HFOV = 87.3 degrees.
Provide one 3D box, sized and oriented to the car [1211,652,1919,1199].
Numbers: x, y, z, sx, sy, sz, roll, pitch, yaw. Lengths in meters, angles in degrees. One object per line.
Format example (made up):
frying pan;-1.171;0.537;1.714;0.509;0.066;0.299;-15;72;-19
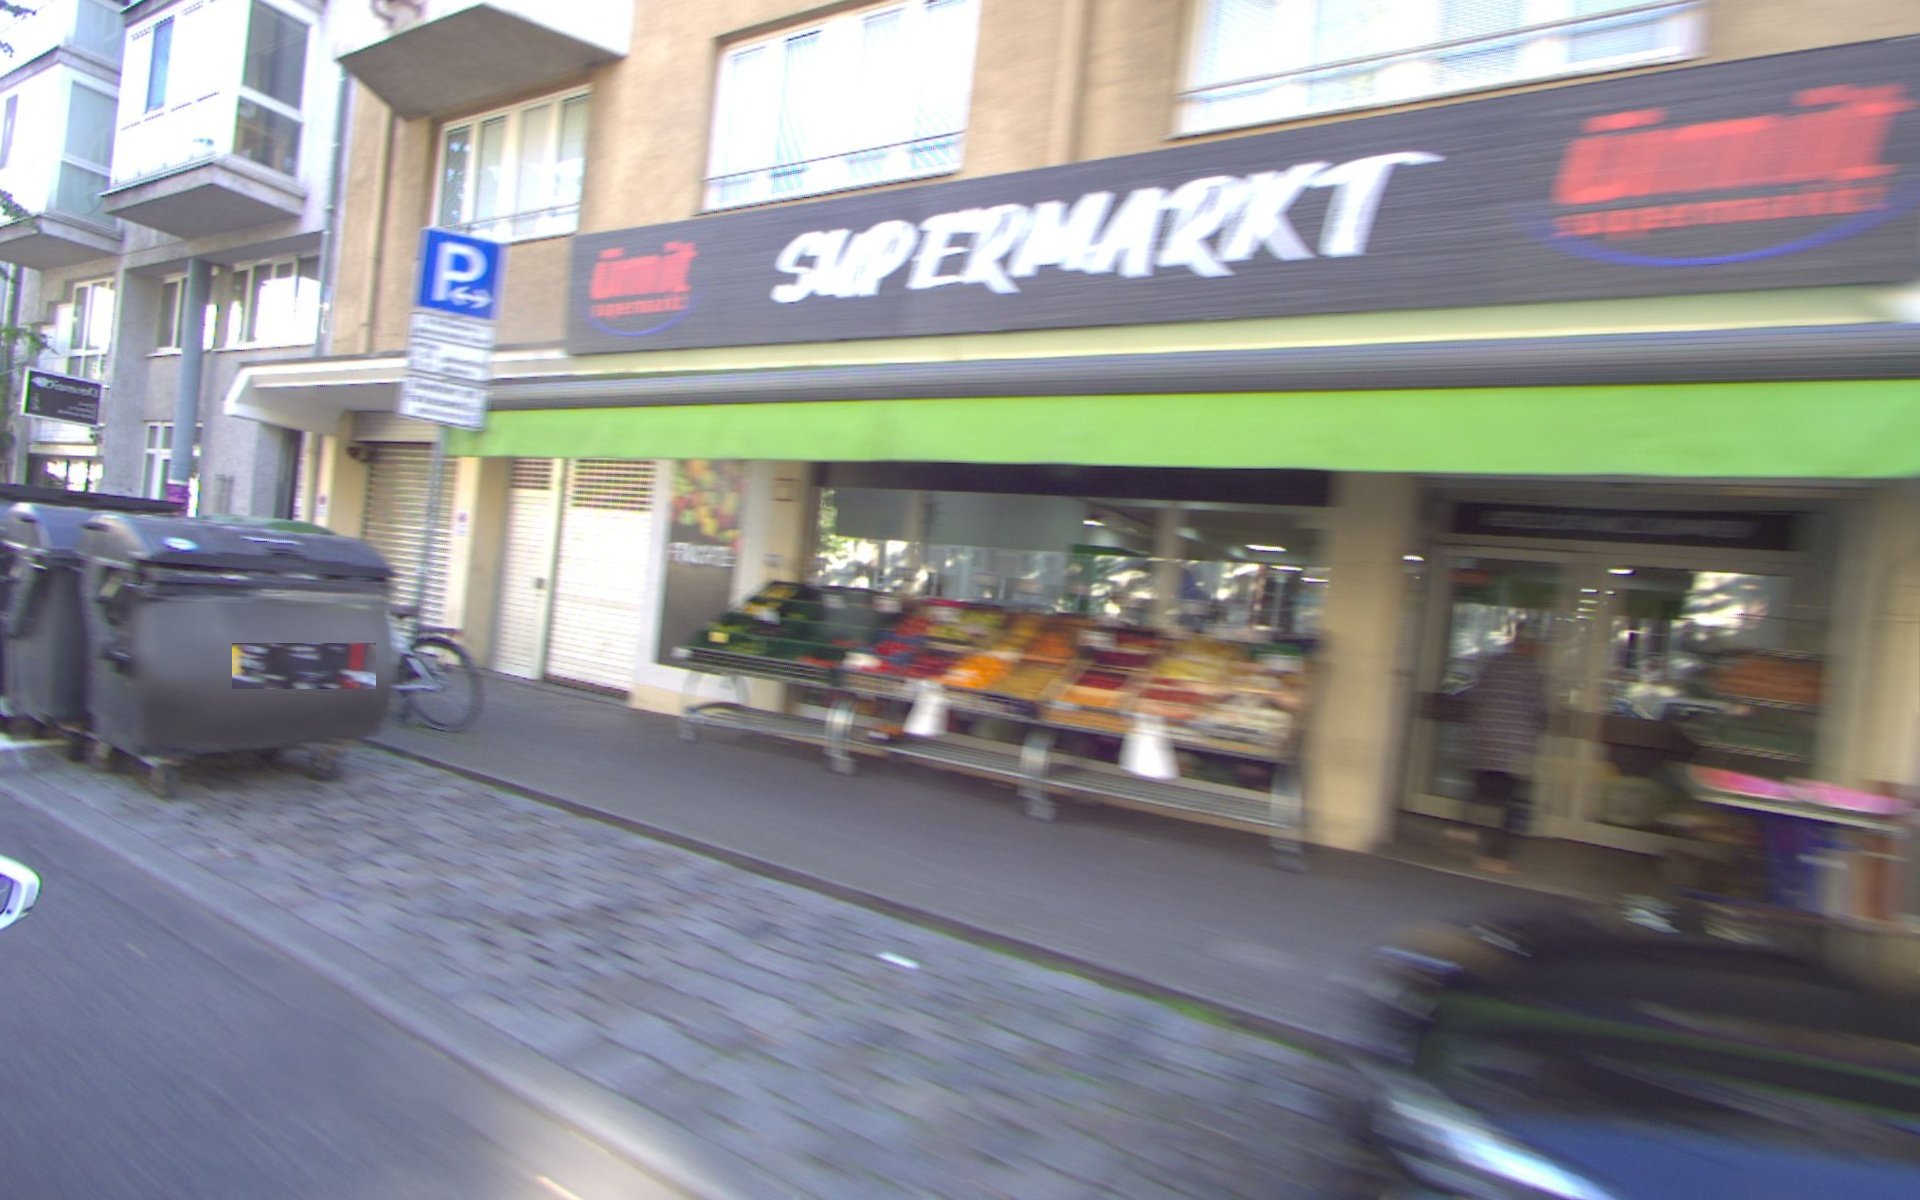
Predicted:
car;2.979;1.103;1.295;4.831;1.491;1.822;6;2;32

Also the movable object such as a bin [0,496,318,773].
movable object such as a bin;-5.119;0.196;6.301;1.127;1.472;1.400;6;0;32

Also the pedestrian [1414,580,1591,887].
pedestrian;3.252;0.764;6.021;0.610;1.662;0.758;7;1;43

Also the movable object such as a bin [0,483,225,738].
movable object such as a bin;-6.105;0.054;6.867;1.127;1.562;1.332;7;0;32

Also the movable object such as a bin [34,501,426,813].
movable object such as a bin;-4.118;0.294;5.753;1.127;1.472;1.400;6;0;32

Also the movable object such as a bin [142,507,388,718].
movable object such as a bin;-5.459;0.094;7.923;1.274;1.449;1.078;6;0;32

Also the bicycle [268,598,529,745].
bicycle;-4.097;0.504;7.372;1.610;0.883;0.570;5;0;9
